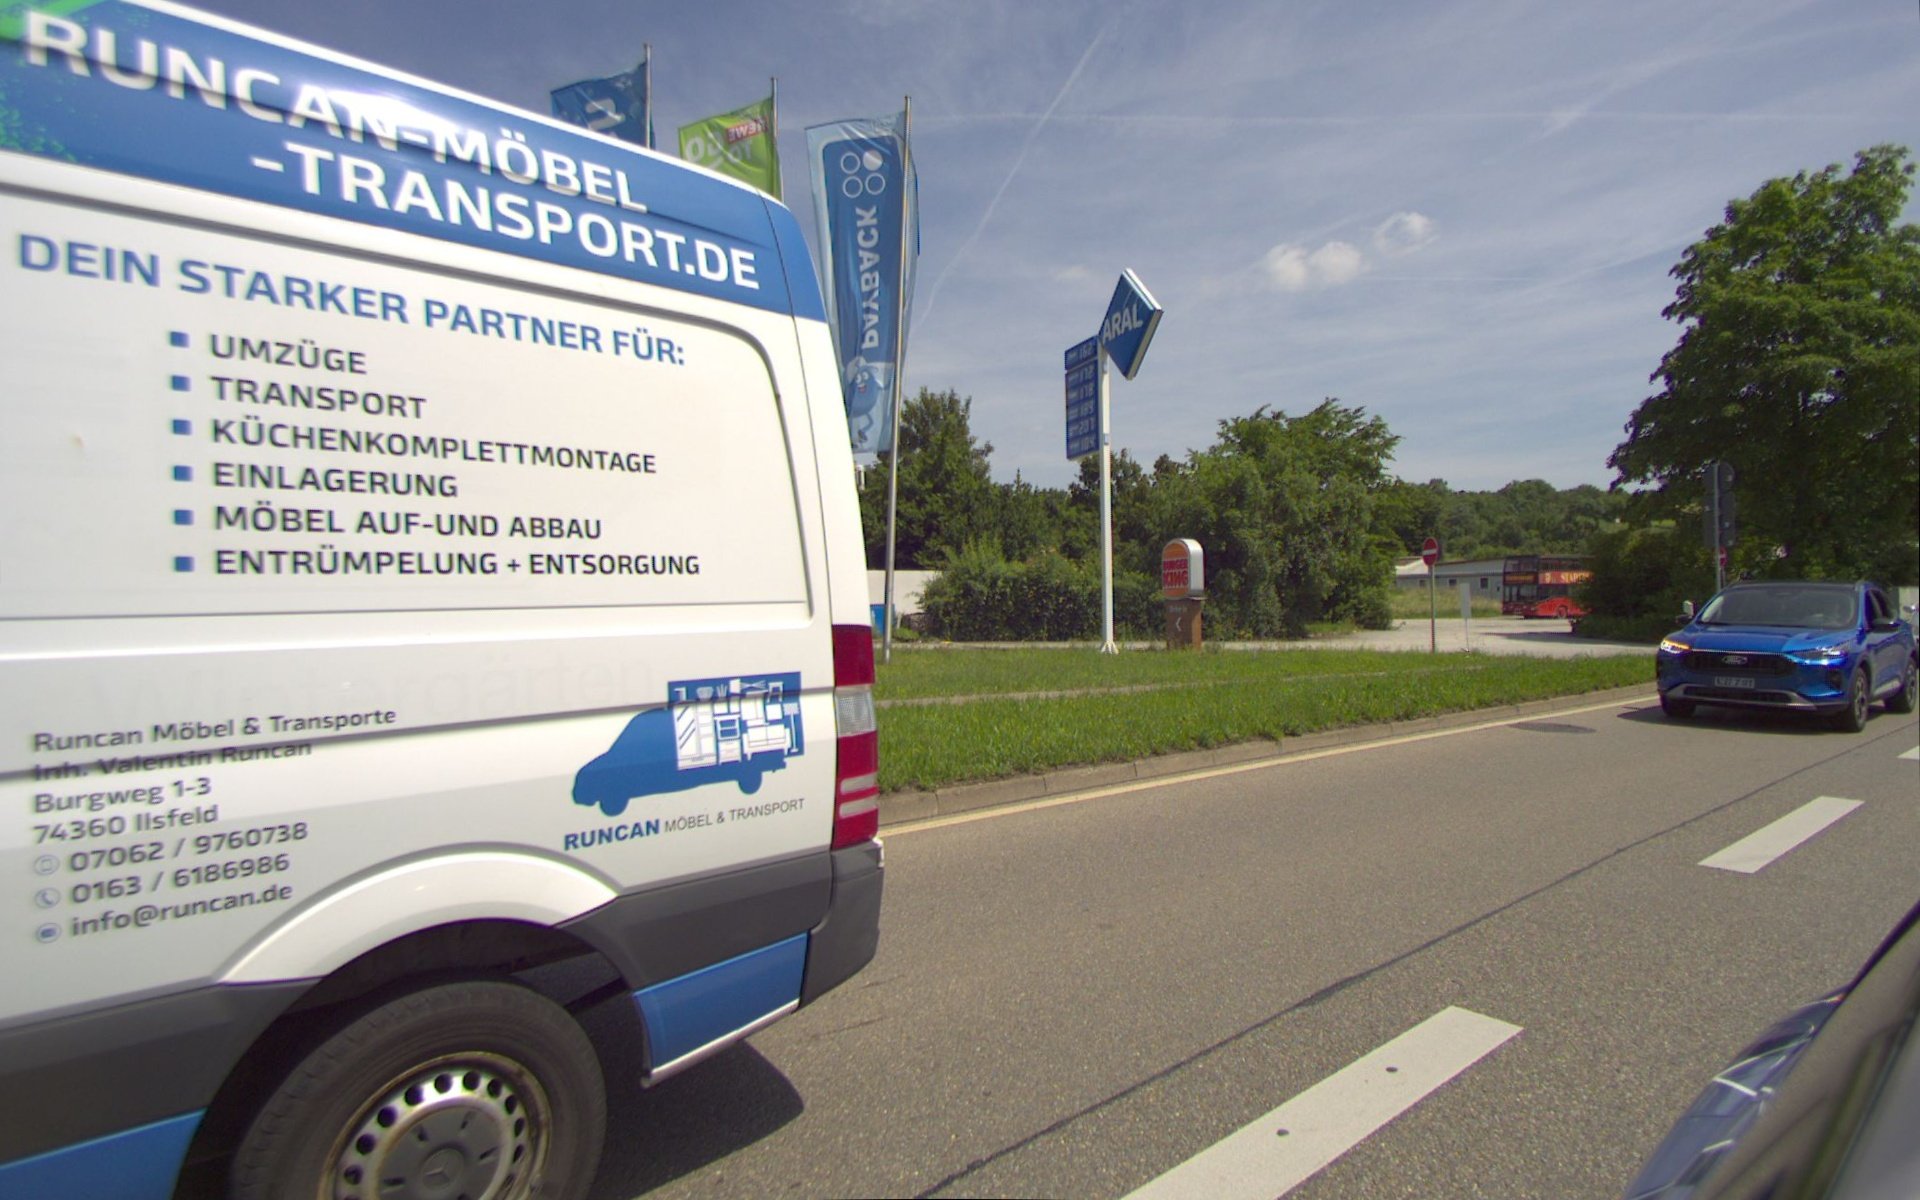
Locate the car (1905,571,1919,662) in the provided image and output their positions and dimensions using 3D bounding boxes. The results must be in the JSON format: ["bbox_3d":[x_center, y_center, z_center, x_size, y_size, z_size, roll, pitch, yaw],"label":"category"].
[{"bbox_3d":[20.390,0.285,20.077,4.446,1.713,1.865,-1,1,-40],"label":"car"}]

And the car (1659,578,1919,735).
[{"bbox_3d":[10.288,0.527,12.310,4.309,1.578,1.783,-1,1,-39],"label":"car"}]

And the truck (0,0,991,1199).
[{"bbox_3d":[-2.789,0.040,1.751,5.839,2.771,2.070,-1,1,-41],"label":"truck"}]
